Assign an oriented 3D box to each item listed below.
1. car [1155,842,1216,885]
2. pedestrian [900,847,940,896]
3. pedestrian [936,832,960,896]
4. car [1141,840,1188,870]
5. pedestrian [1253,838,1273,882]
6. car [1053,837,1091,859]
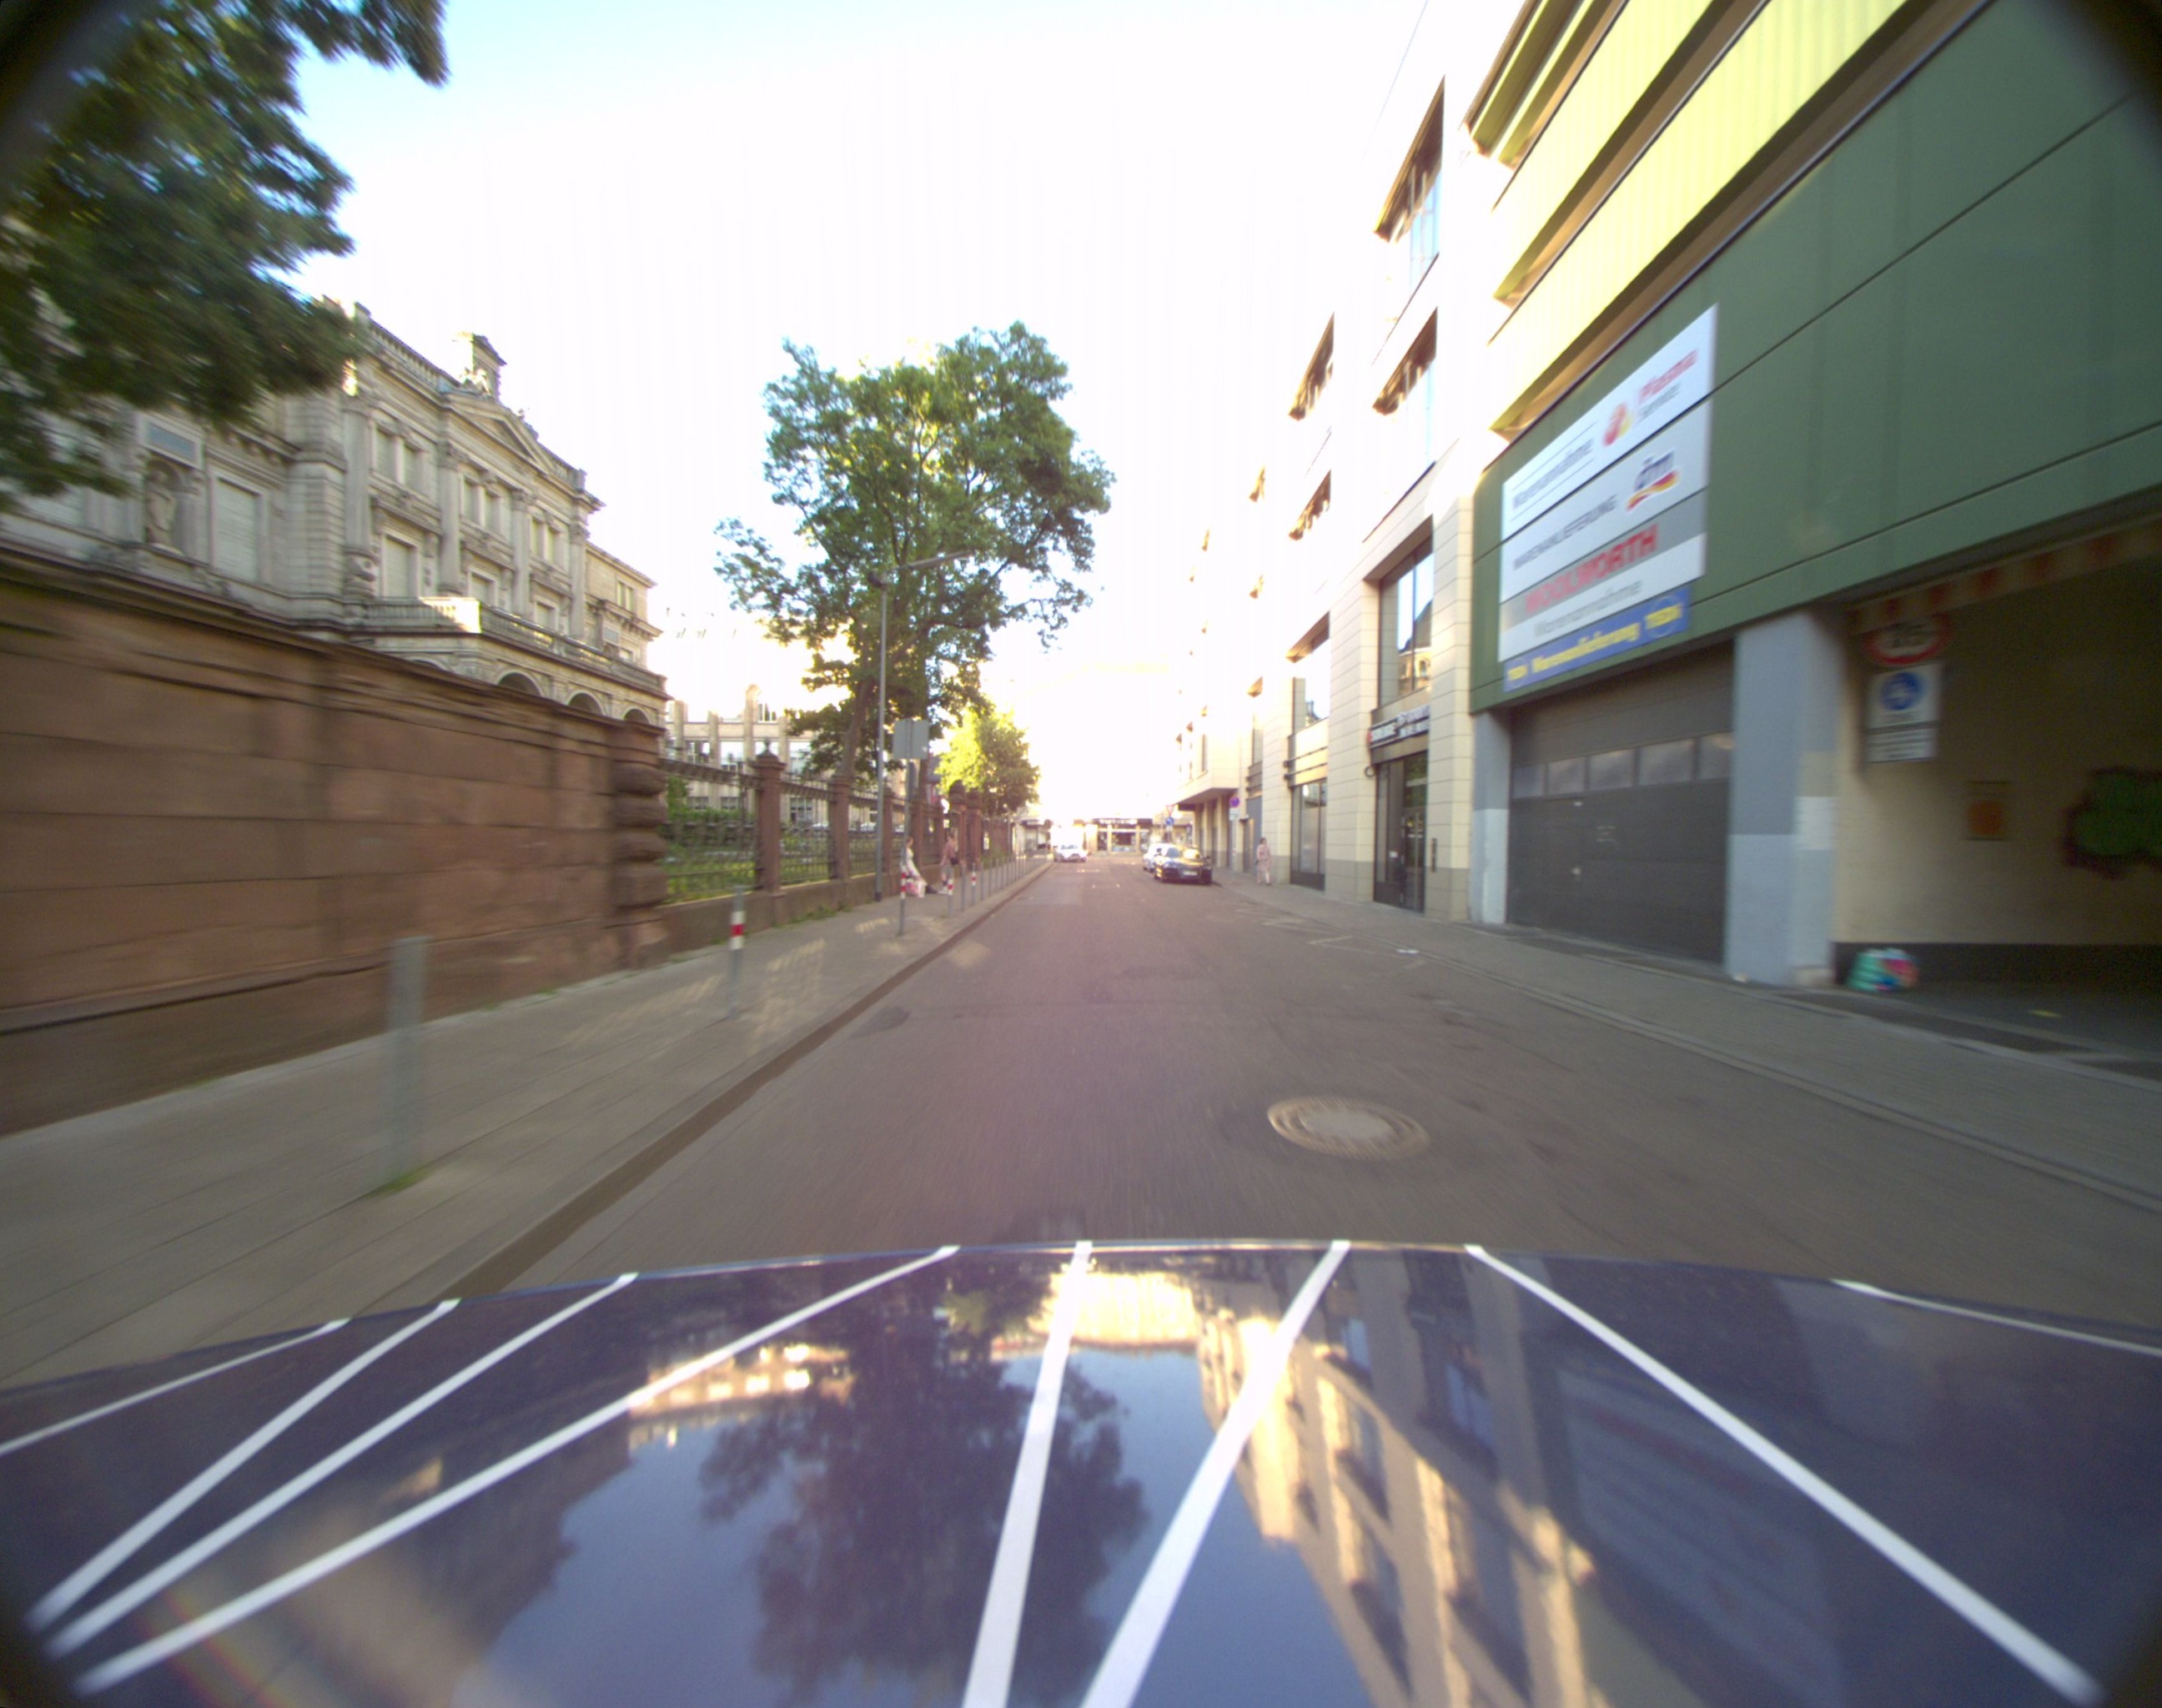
[{"bbox_3d":[4.052,0.303,30.066,1.998,1.410,4.558,2,2,3],"label":"car"},{"bbox_3d":[-4.171,0.447,19.709,0.928,1.242,0.362,2,2,-3],"label":"pedestrian"},{"bbox_3d":[-3.488,0.263,19.936,0.437,1.637,0.557,2,2,7],"label":"pedestrian"},{"bbox_3d":[4.267,0.006,39.244,1.818,1.440,3.627,0,1,-4],"label":"car"},{"bbox_3d":[6.693,0.202,27.998,0.620,1.616,0.565,0,2,1],"label":"pedestrian"},{"bbox_3d":[-0.711,-0.440,55.120,1.791,1.516,3.994,-2,2,-14],"label":"car"}]
